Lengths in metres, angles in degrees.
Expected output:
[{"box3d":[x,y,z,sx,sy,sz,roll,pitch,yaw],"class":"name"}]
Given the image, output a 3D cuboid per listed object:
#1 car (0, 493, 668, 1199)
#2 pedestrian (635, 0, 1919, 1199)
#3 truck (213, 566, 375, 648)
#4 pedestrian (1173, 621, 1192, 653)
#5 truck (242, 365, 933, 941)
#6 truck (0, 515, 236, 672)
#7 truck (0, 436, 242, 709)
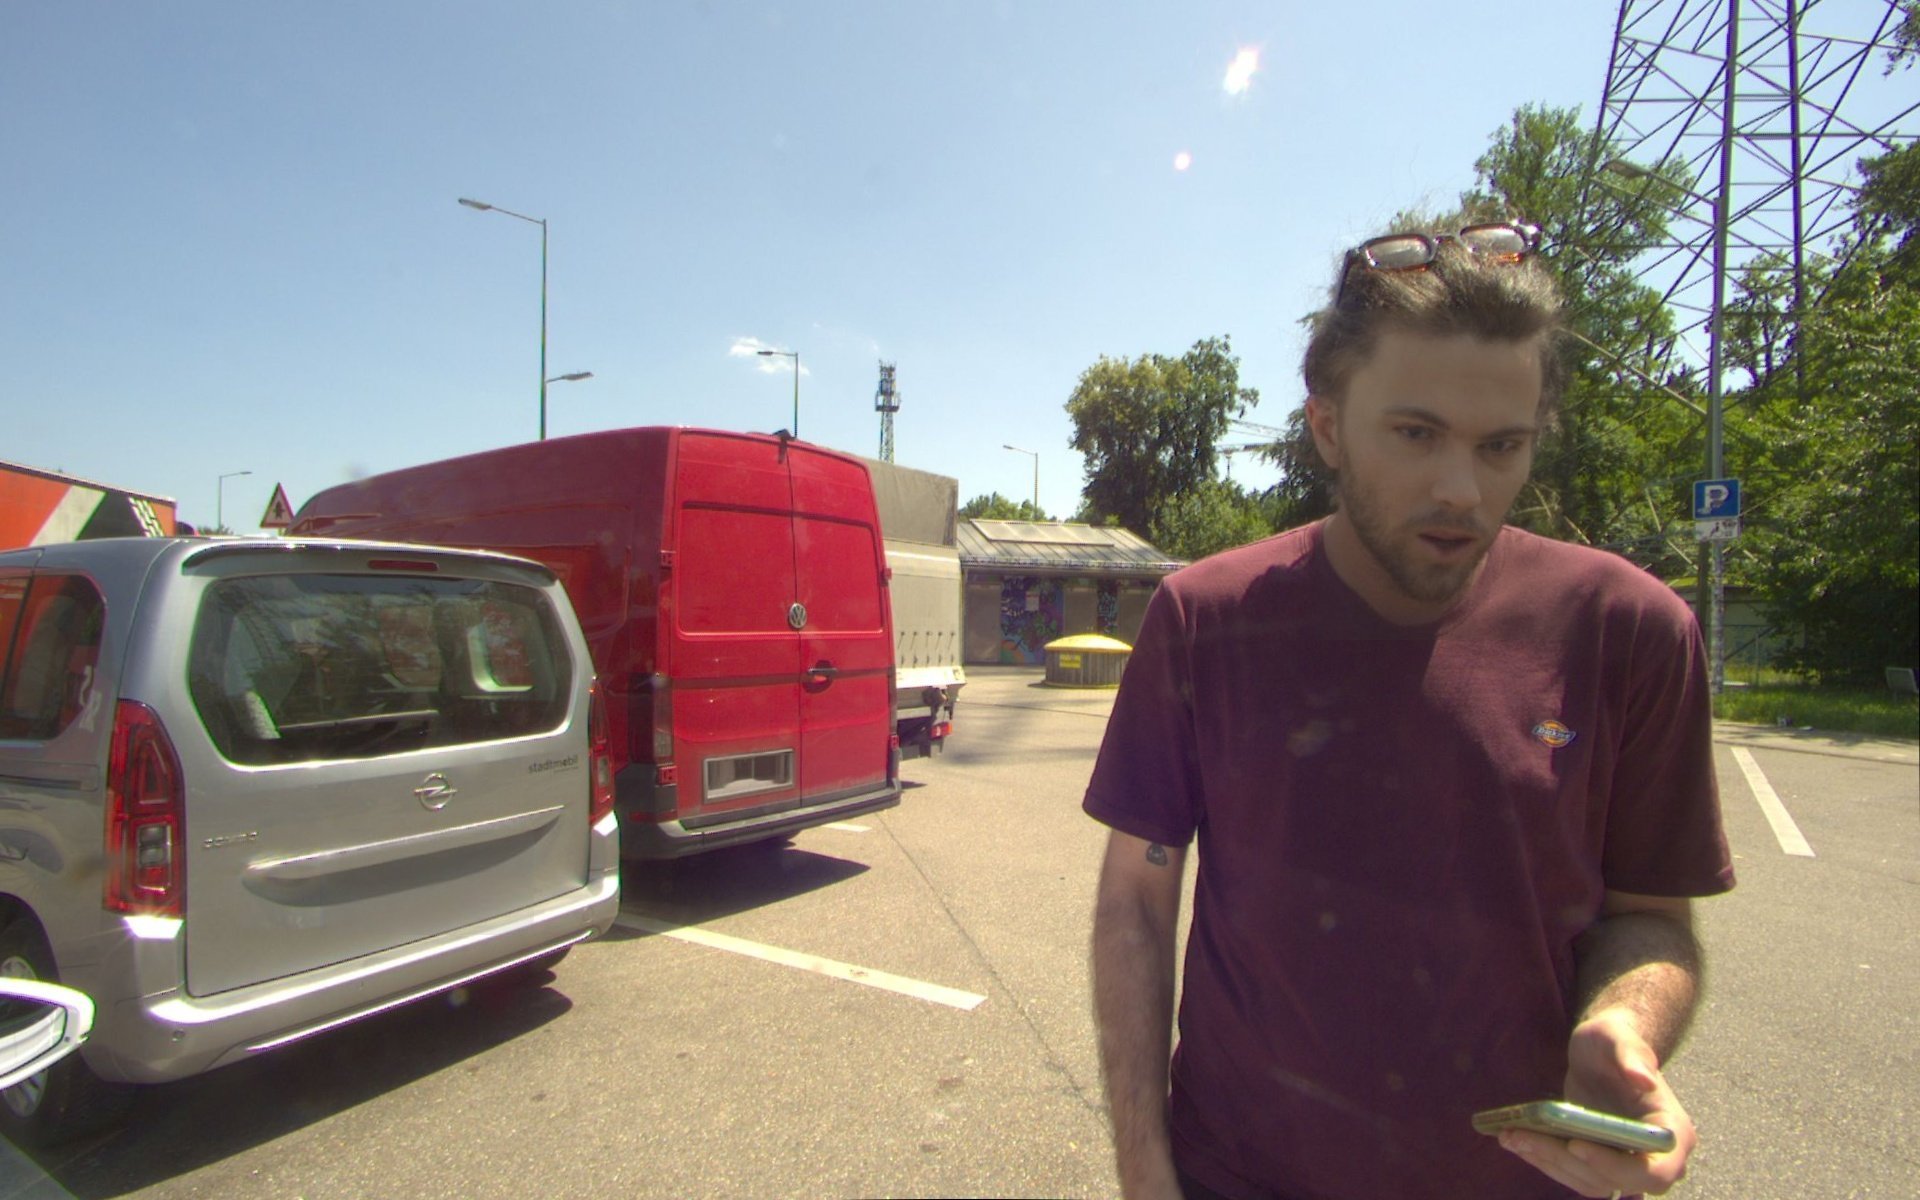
[{"box3d":[-3.349,0.642,4.207,3.938,1.776,1.824,0,-1,29],"class":"car"},{"box3d":[0.367,0.514,0.858,0.926,1.798,0.827,0,-1,28],"class":"pedestrian"},{"box3d":[-30.713,0.340,46.064,8.407,3.482,3.019,0,-1,33],"class":"truck"},{"box3d":[9.929,1.633,44.648,0.579,1.402,0.754,0,-1,-8],"class":"pedestrian"},{"box3d":[-2.863,0.268,6.992,5.233,2.658,1.987,0,-1,37],"class":"truck"},{"box3d":[-27.993,-0.115,31.776,14.316,4.175,2.901,0,-3,33],"class":"truck"},{"box3d":[-16.696,-0.393,17.783,2.645,4.181,10.592,1,-1,-14],"class":"truck"}]
